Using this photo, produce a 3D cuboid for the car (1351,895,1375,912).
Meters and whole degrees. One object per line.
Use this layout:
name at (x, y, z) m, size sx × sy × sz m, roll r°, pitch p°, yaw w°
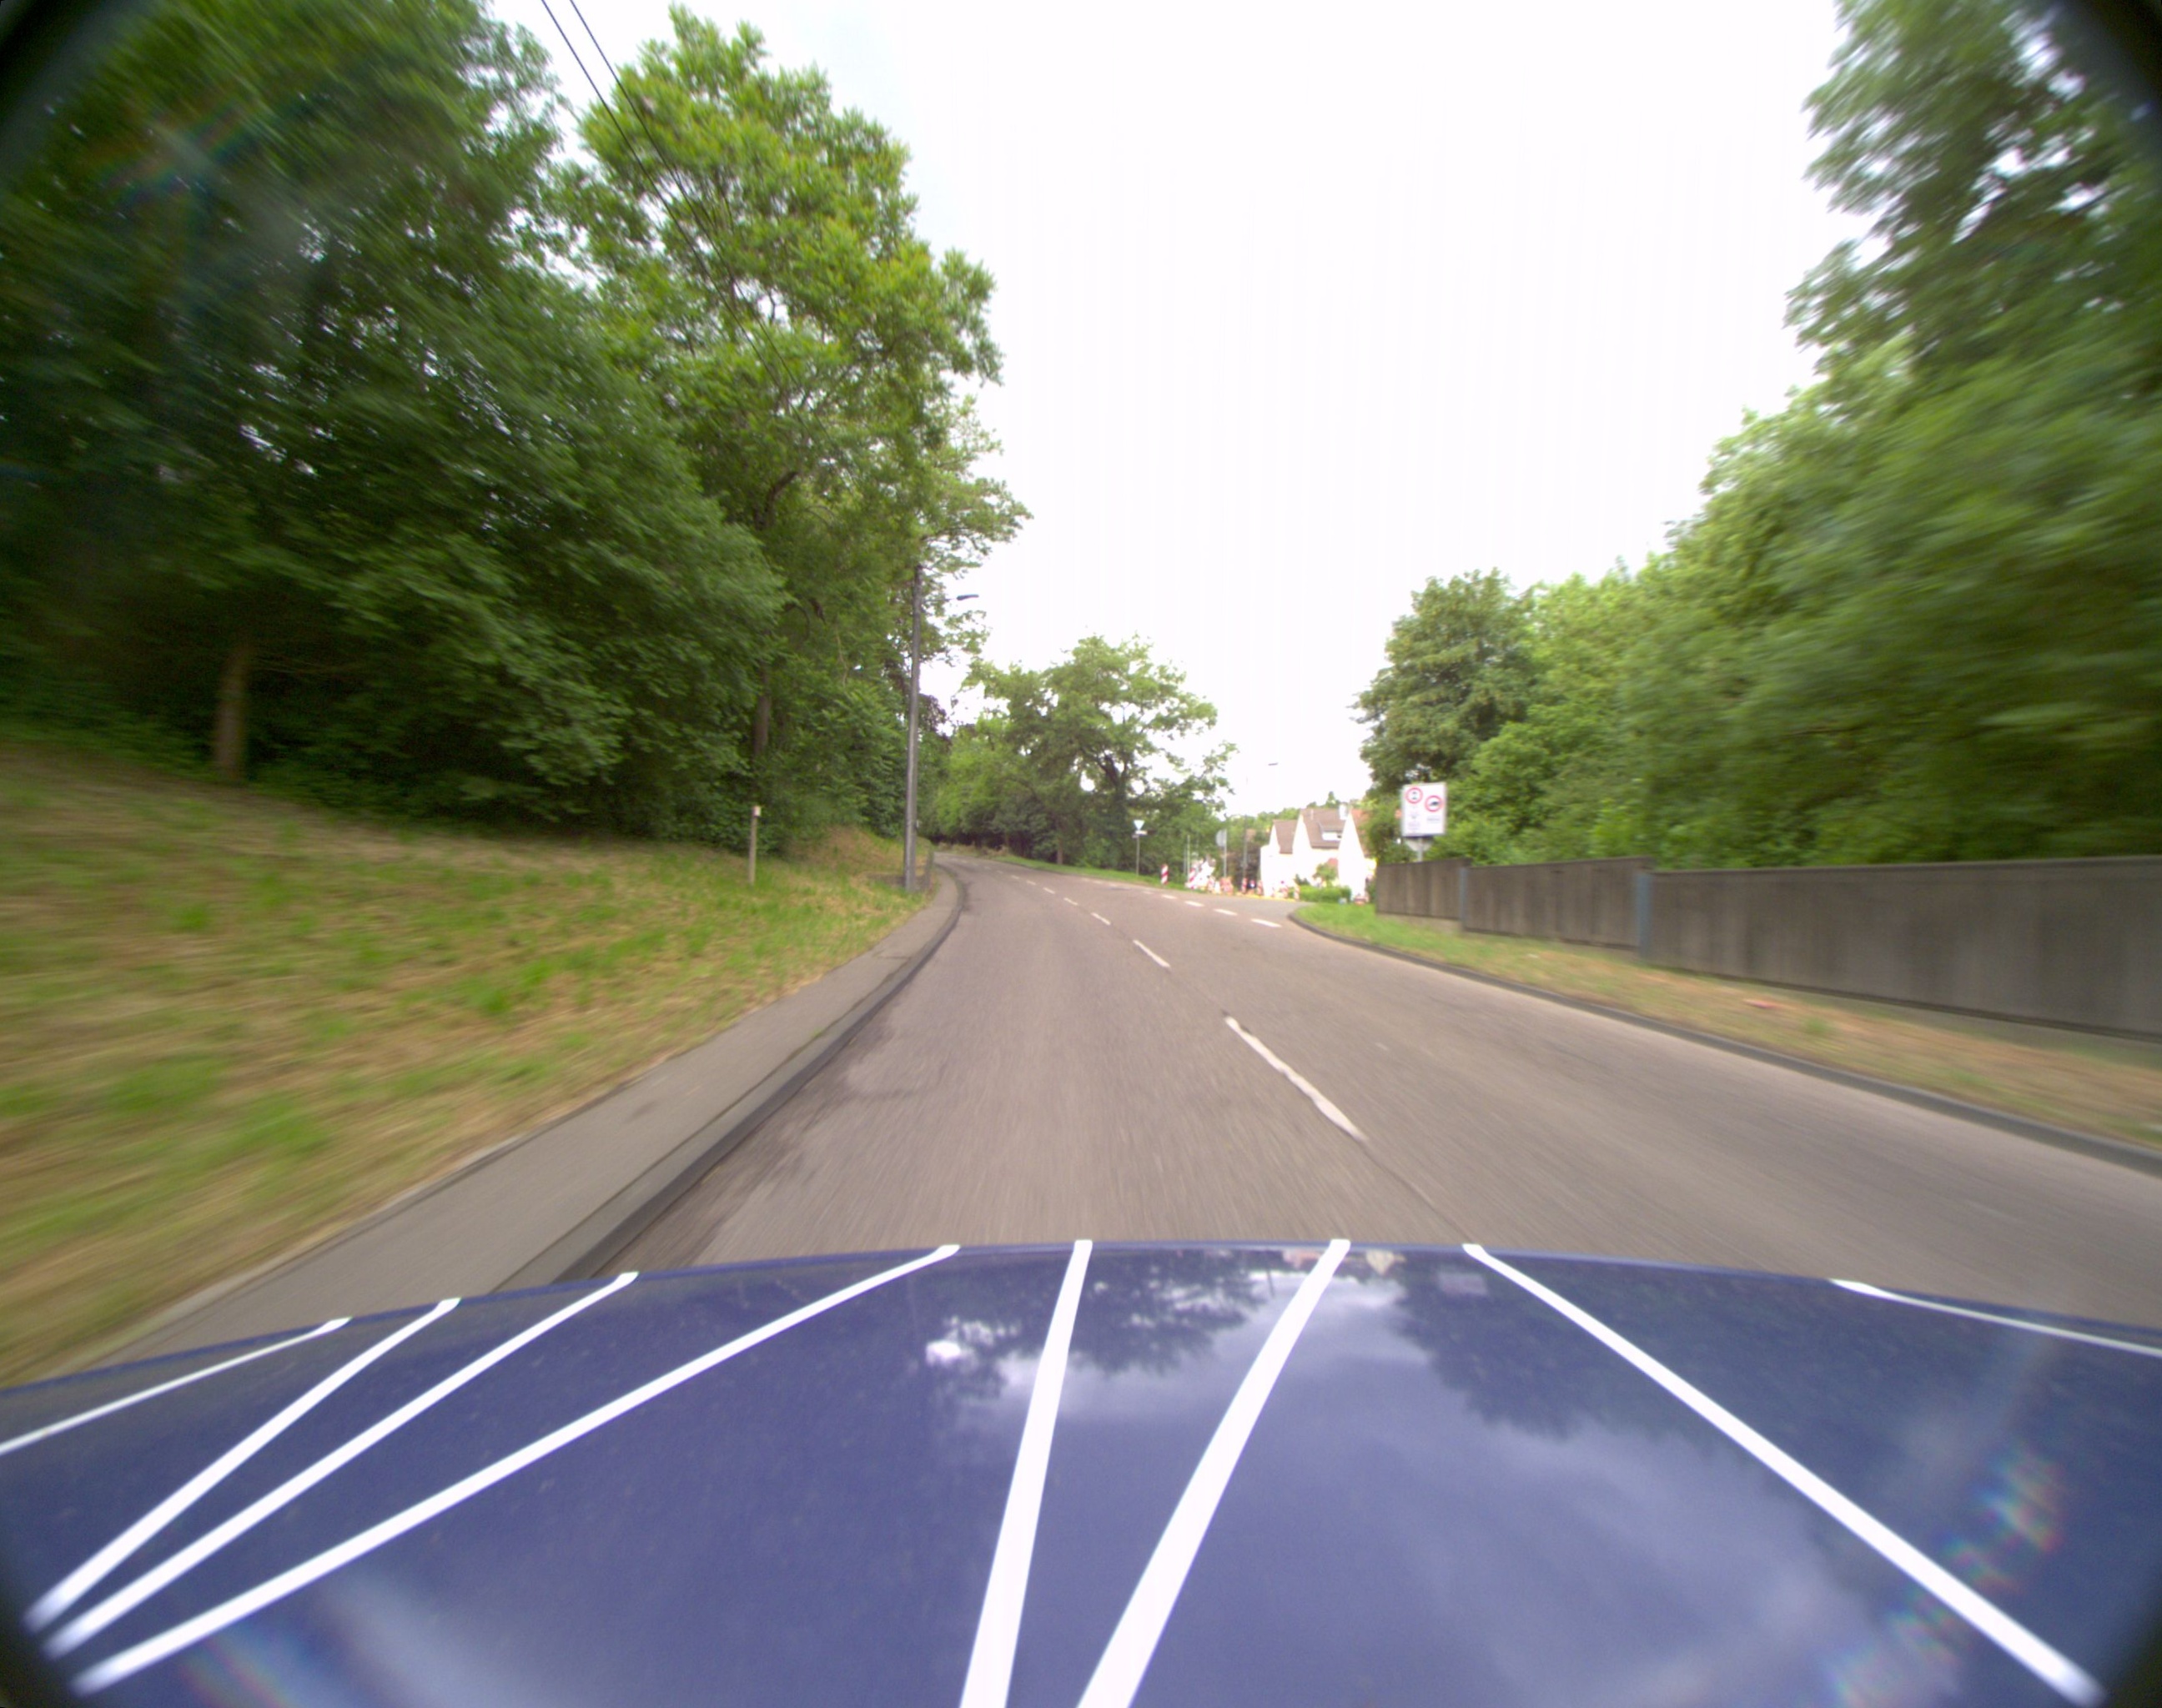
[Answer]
car at (27.274, 4.825, 73.436) m, size 1.751 × 1.381 × 4.009 m, roll 7°, pitch -1°, yaw 24°
